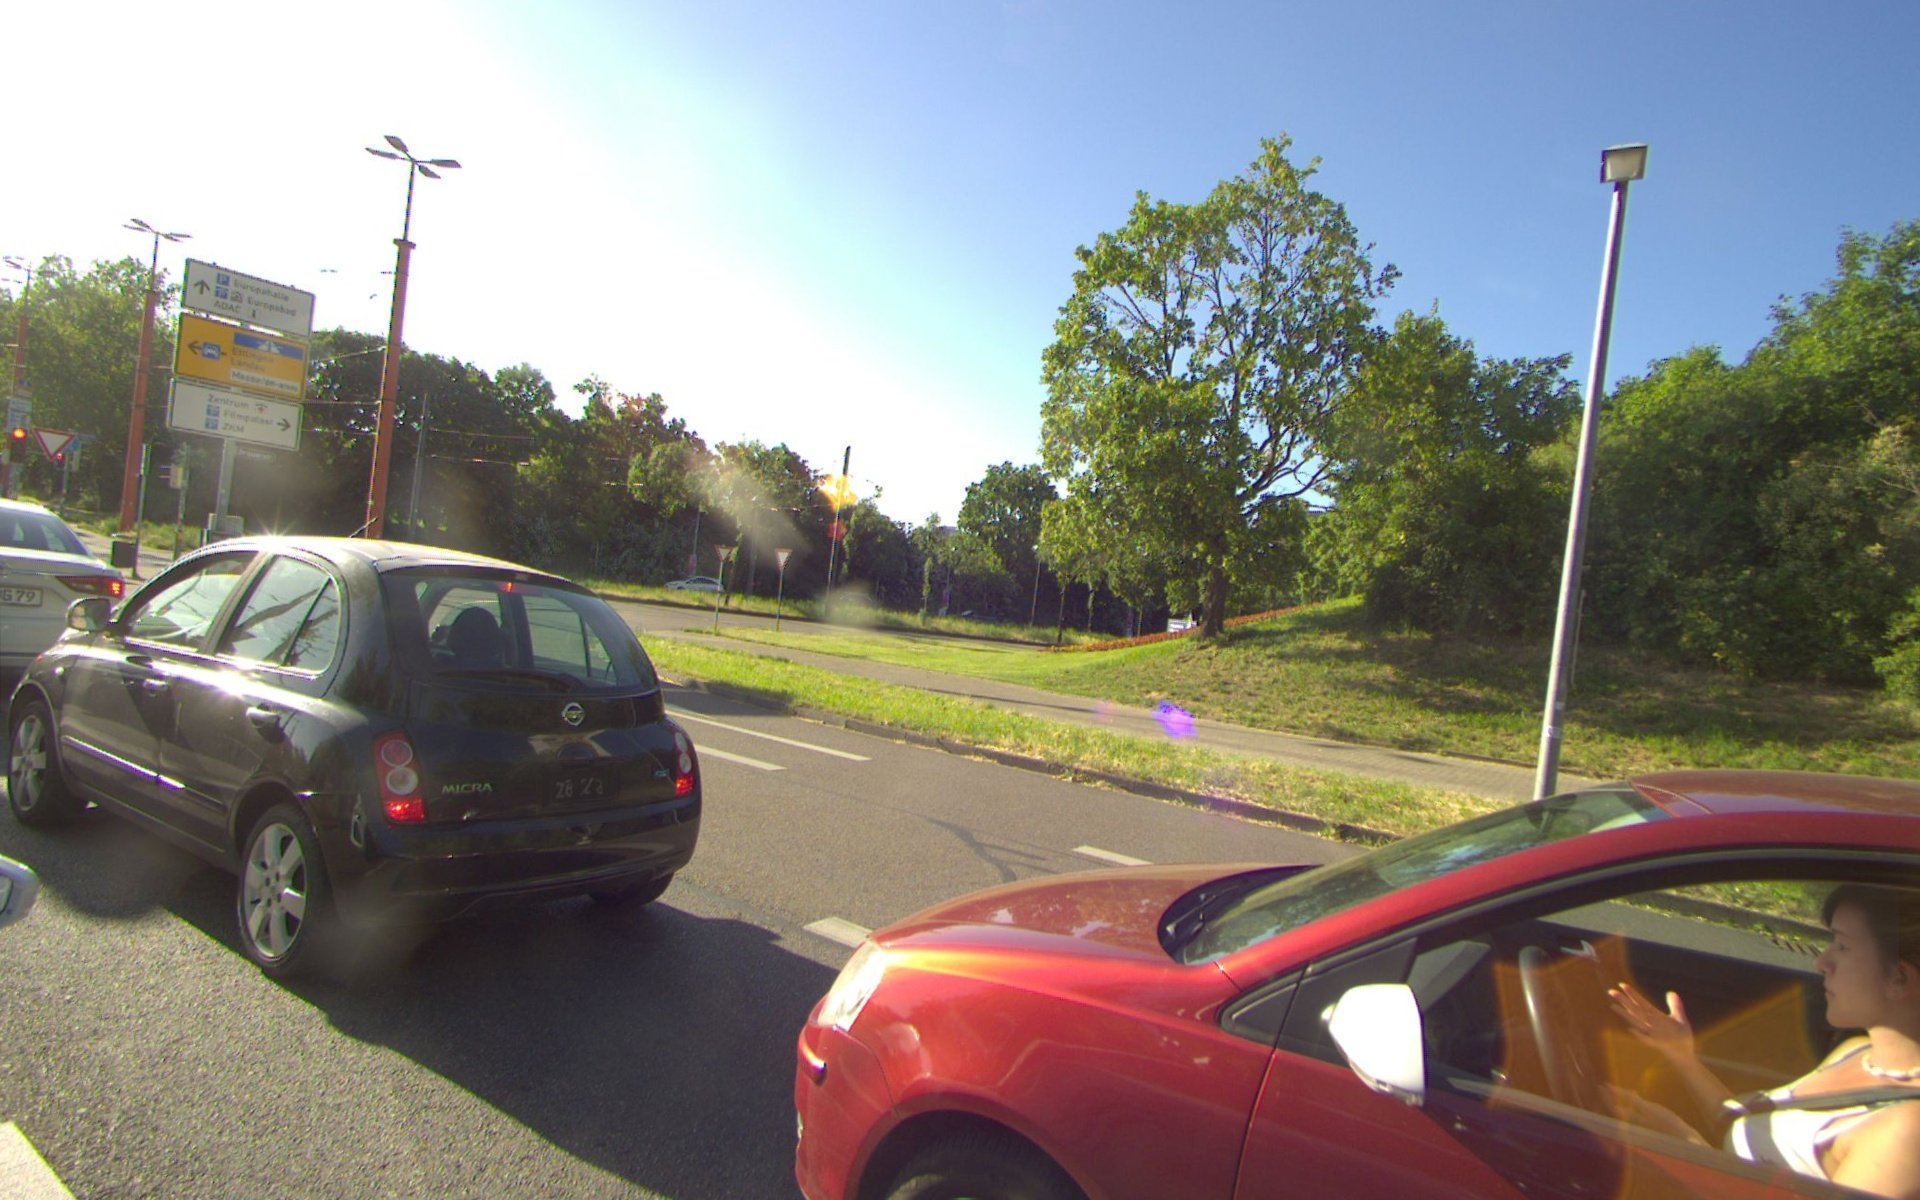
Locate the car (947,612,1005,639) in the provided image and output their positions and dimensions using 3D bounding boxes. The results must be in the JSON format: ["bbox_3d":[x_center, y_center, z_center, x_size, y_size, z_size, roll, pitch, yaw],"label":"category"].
[{"bbox_3d":[1.215,1.949,77.670,4.105,1.528,1.644,8,-1,-31],"label":"car"}]

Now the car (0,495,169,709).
[{"bbox_3d":[-8.382,-0.176,8.078,4.256,1.457,1.802,6,-2,33],"label":"car"}]

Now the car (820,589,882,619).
[{"bbox_3d":[-7.480,0.301,69.232,3.764,1.528,1.644,8,-1,-31],"label":"car"}]

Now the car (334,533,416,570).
[{"bbox_3d":[-33.203,-2.740,57.126,3.890,1.474,1.642,8,-1,-33],"label":"car"}]

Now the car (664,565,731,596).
[{"bbox_3d":[-17.505,-1.310,67.039,3.888,1.474,1.643,8,-1,-32],"label":"car"}]

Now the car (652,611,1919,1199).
[{"bbox_3d":[1.333,1.002,1.867,3.629,1.477,1.579,6,-2,32],"label":"car"}]

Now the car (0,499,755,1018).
[{"bbox_3d":[-2.810,0.466,4.623,3.385,1.457,1.579,6,-2,32],"label":"car"}]
